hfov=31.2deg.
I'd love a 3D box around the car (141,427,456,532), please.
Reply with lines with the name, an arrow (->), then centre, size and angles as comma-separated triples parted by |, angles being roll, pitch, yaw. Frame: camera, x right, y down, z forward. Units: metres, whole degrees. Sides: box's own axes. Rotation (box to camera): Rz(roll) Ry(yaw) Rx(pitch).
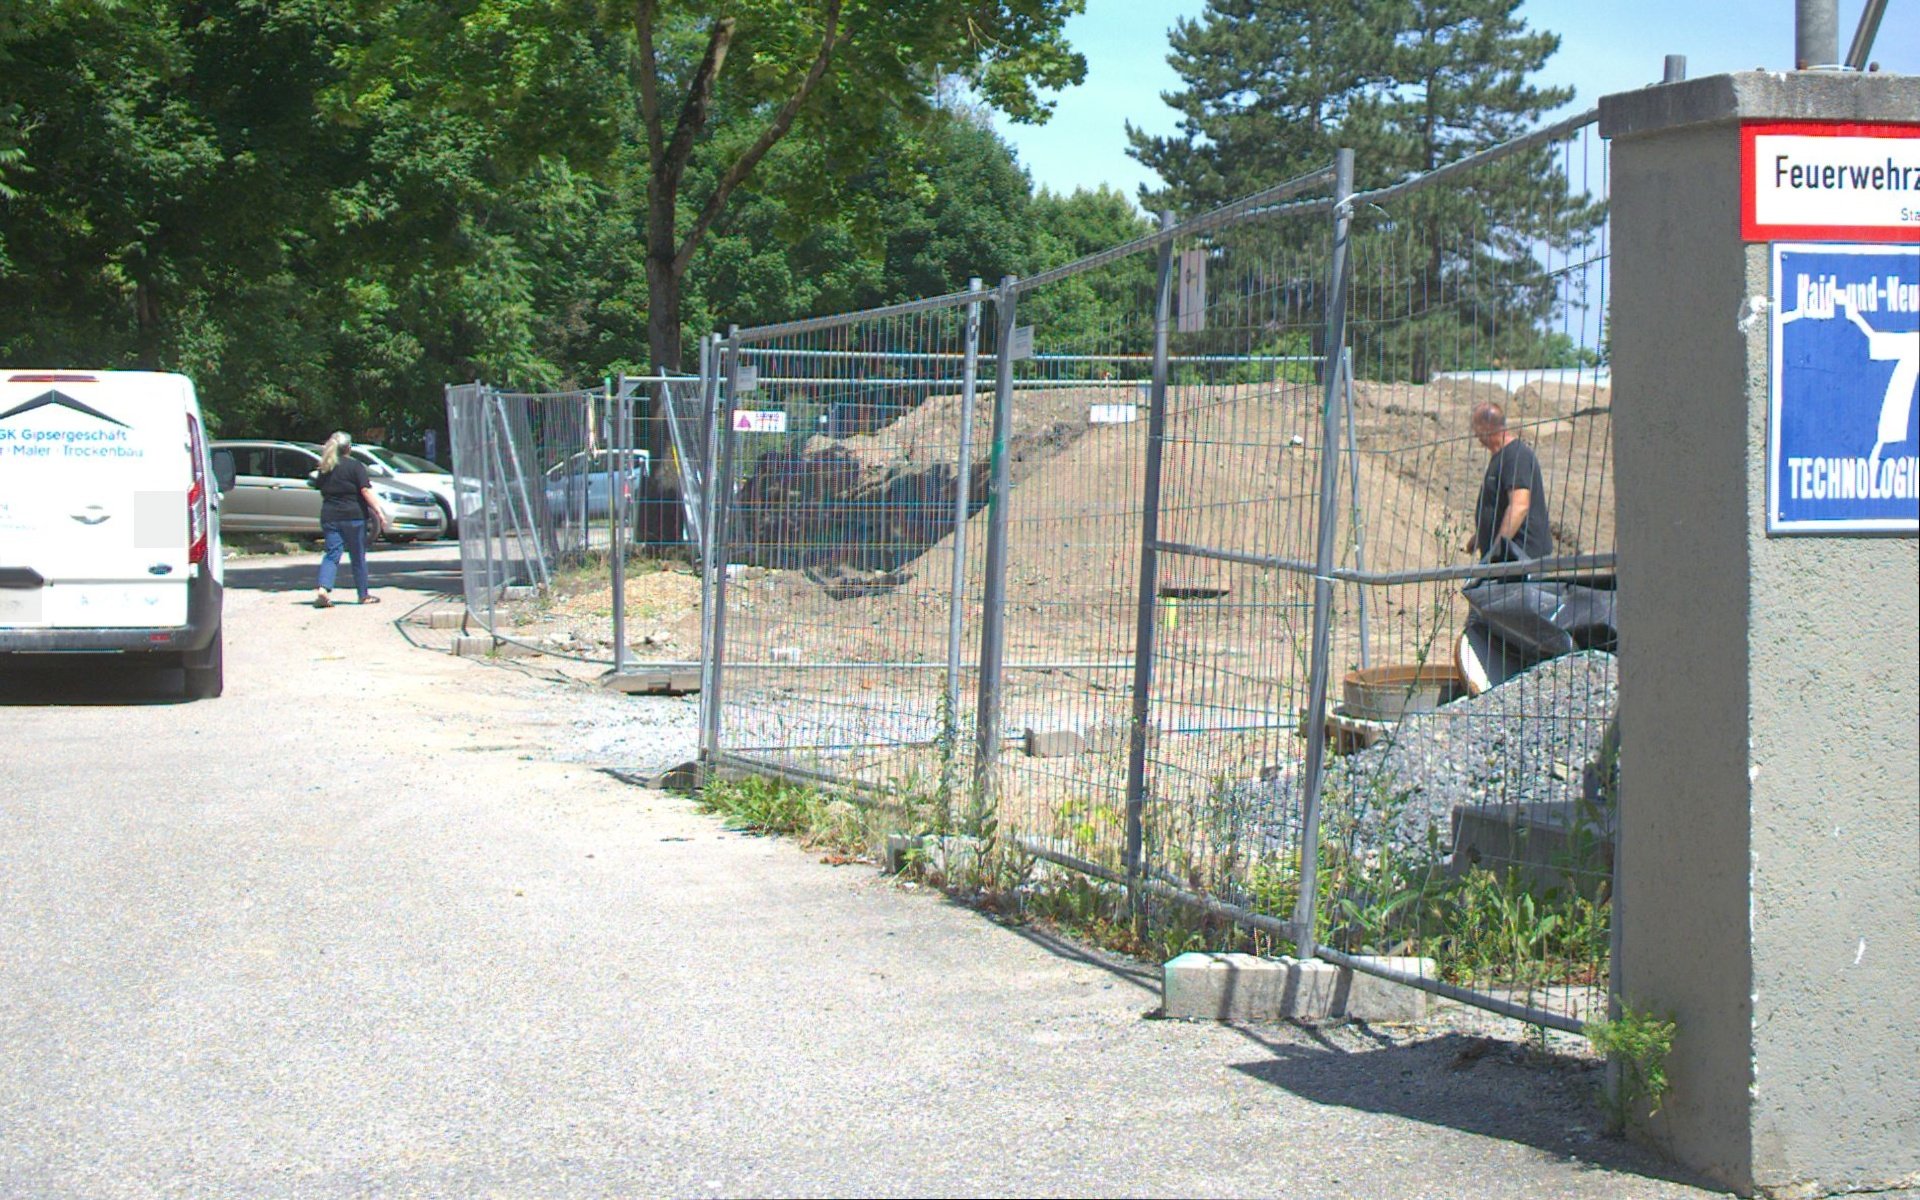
car -> -10.493, -1.894, 54.675 | 4.508, 1.604, 1.999 | 0, 0, 12

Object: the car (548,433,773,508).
car -> -6.512, -2.832, 75.019 | 4.508, 1.592, 1.936 | 0, 3, 11

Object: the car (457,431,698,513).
car -> -7.718, -2.603, 69.531 | 4.507, 1.592, 1.725 | 0, 3, 11

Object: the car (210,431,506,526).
car -> -9.983, -2.023, 57.154 | 4.507, 1.526, 1.725 | 0, 3, 11

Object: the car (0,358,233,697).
car -> -5.795, -0.517, 22.086 | 1.972, 1.940, 4.583 | -1, 3, -14

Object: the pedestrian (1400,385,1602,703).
pedestrian -> 3.169, -0.344, 20.201 | 0.964, 1.813, 0.871 | -1, 3, -7

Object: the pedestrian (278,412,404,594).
pedestrian -> -5.711, -0.910, 31.779 | 1.035, 1.644, 1.049 | -1, 3, -5
